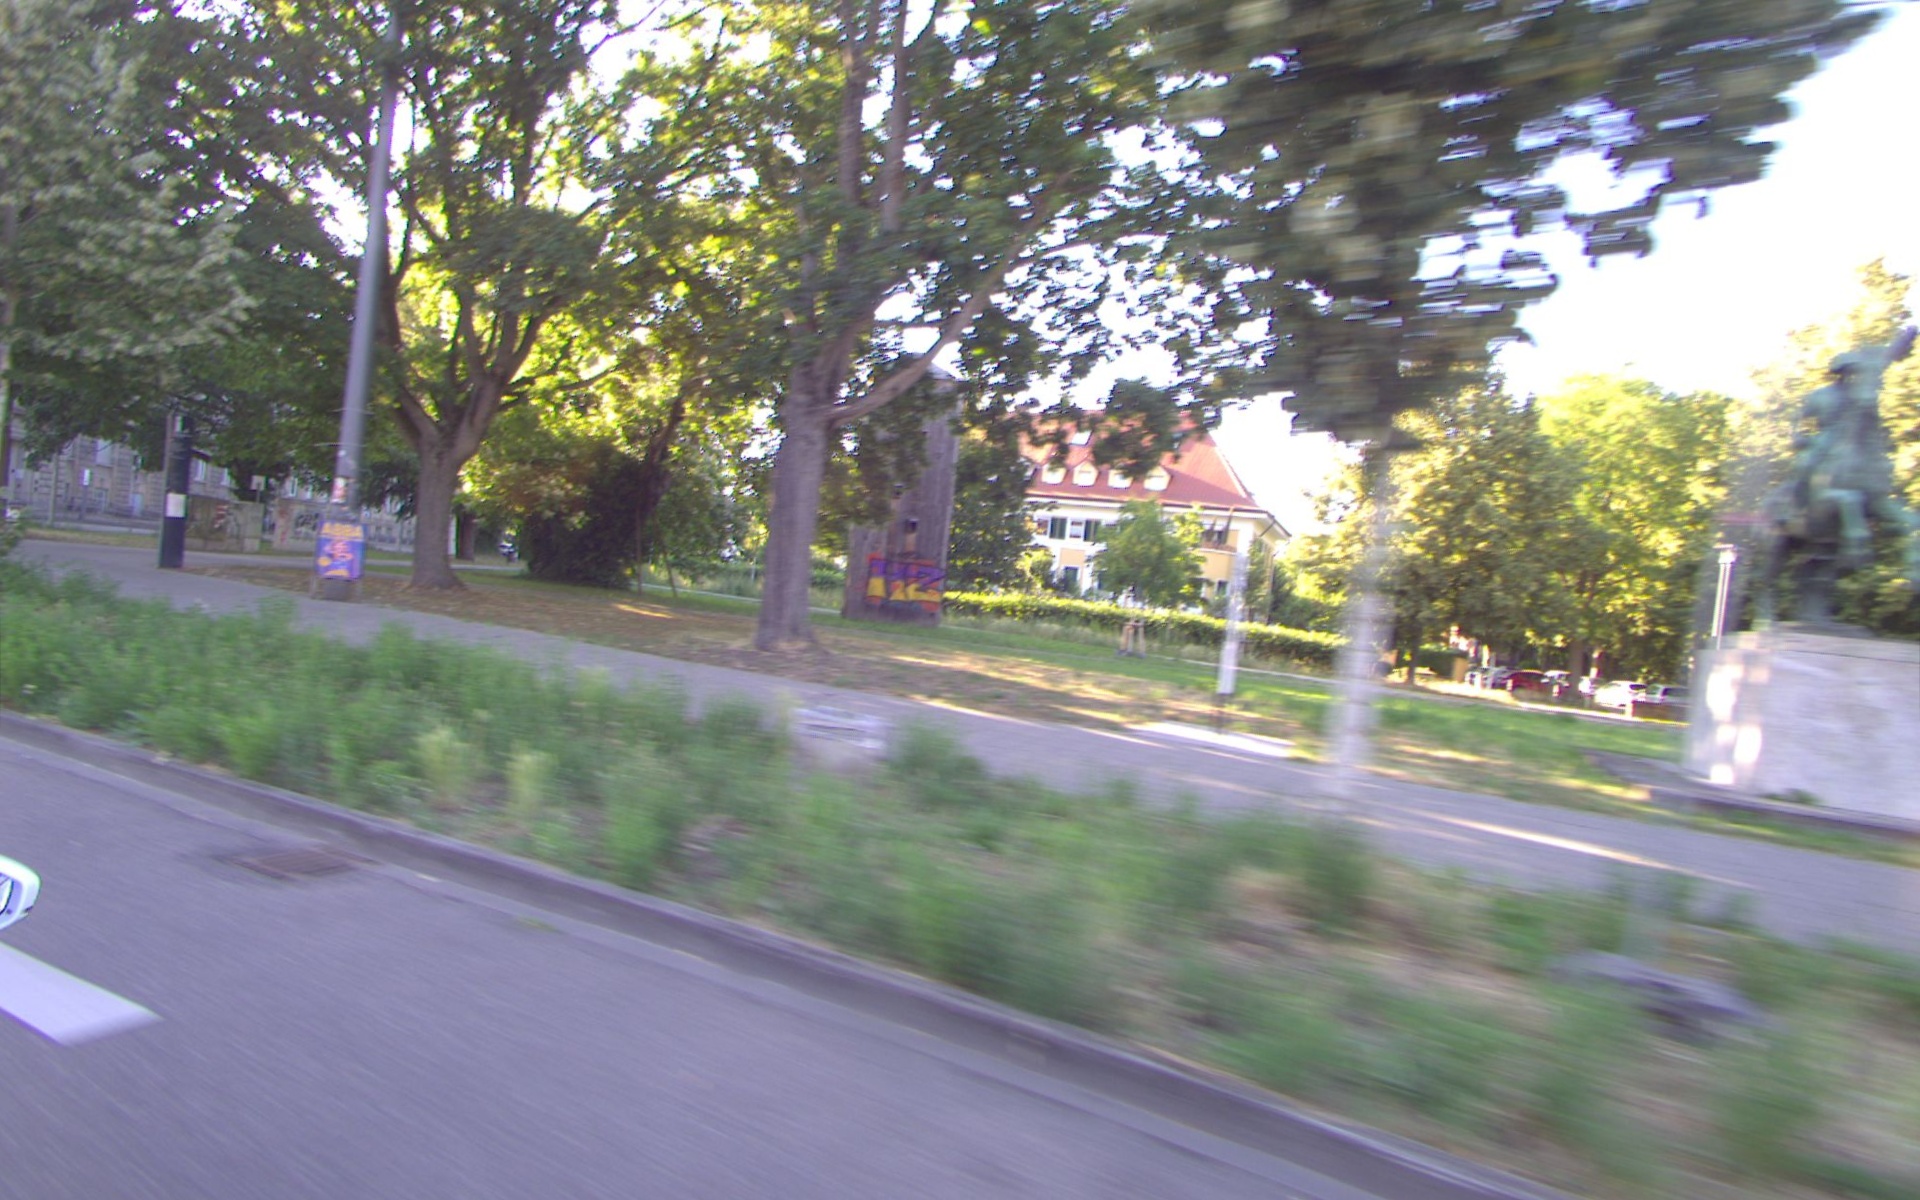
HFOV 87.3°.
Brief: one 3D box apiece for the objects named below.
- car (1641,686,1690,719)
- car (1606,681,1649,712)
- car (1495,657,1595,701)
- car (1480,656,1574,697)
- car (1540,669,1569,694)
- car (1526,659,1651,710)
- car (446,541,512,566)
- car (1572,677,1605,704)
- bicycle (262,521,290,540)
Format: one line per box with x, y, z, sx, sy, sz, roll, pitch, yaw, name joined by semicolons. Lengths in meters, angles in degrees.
38.575;5.576;55.083;1.570;1.528;4.153;7;-1;28;car
40.081;5.777;60.491;1.601;1.528;4.152;7;0;28;car
30.058;4.047;51.862;4.082;1.651;1.870;7;1;23;car
30.716;4.115;54.613;4.082;1.639;1.870;7;1;23;car
41.782;5.729;70.777;1.537;1.467;3.503;7;-1;30;car
30.056;3.999;48.294;4.550;1.740;1.999;7;1;18;car
-38.806;-3.767;81.265;4.384;1.488;1.777;6;0;-15;car
40.960;5.878;65.598;1.537;1.467;3.503;7;-1;30;car
-49.763;-5.058;73.209;0.841;1.114;1.978;8;0;-9;bicycle
